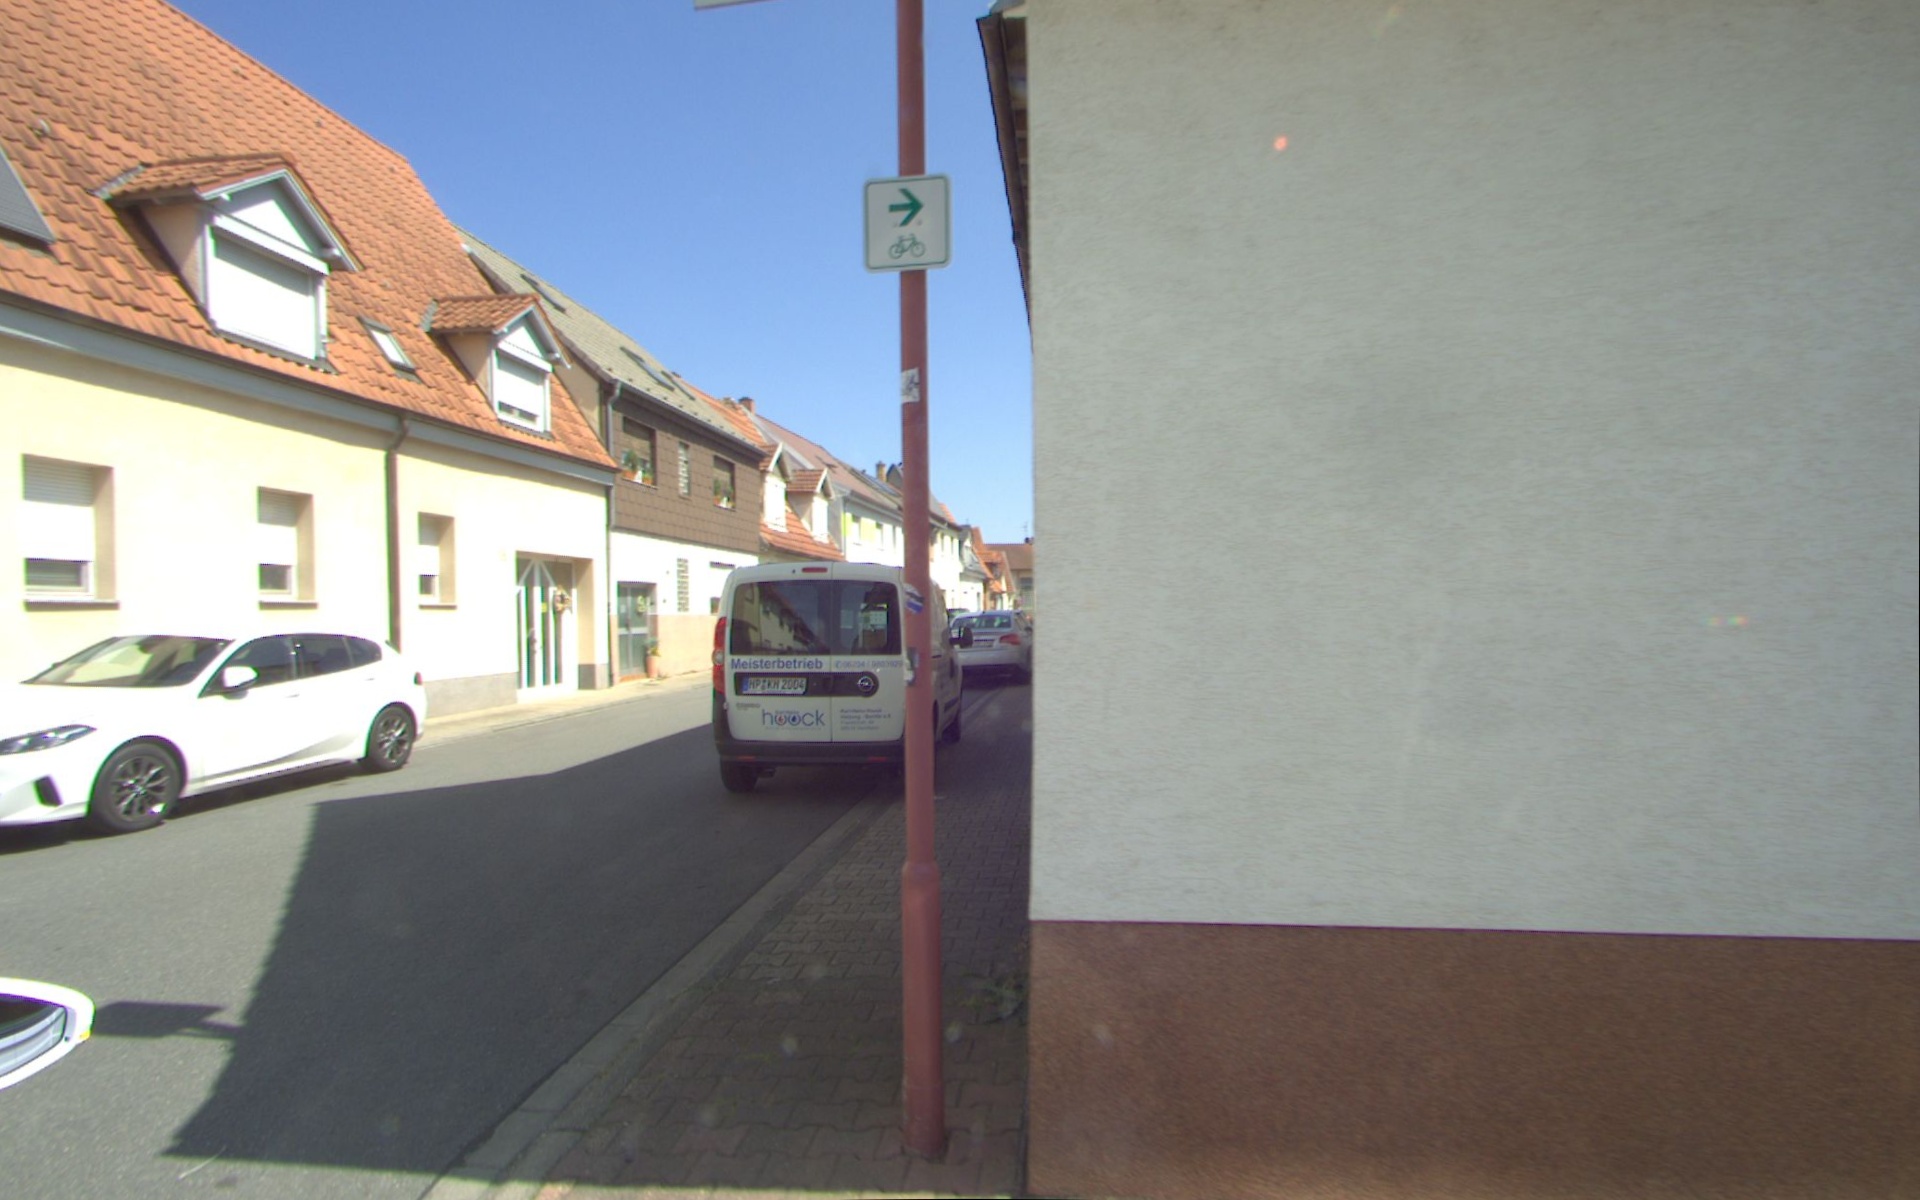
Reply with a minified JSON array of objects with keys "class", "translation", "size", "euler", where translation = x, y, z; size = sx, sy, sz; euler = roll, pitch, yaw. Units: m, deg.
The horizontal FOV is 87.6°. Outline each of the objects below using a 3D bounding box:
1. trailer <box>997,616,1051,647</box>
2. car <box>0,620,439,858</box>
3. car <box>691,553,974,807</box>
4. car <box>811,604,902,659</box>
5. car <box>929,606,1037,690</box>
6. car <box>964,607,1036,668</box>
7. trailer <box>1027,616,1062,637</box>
[{"class":"trailer","translation":[2.507,1.197,38.498],"size":[1.788,1.104,3.480],"euler":[-1,0,9]},{"class":"car","translation":[-6.620,0.938,8.516],"size":[1.754,1.473,4.215],"euler":[-1,-1,8]},{"class":"car","translation":[-0.931,0.625,9.877],"size":[1.780,1.848,4.851],"euler":[1,-1,5]},{"class":"car","translation":[-3.235,0.971,32.168],"size":[1.771,1.594,4.614],"euler":[-1,-1,9]},{"class":"car","translation":[0.615,0.938,21.165],"size":[1.762,1.500,4.933],"euler":[-3,-1,7]},{"class":"car","translation":[1.131,0.954,26.407],"size":[1.622,1.455,4.134],"euler":[-1,-1,6]},{"class":"trailer","translation":[4.504,1.397,53.142],"size":[1.672,1.047,3.480],"euler":[-1,0,8]}]
